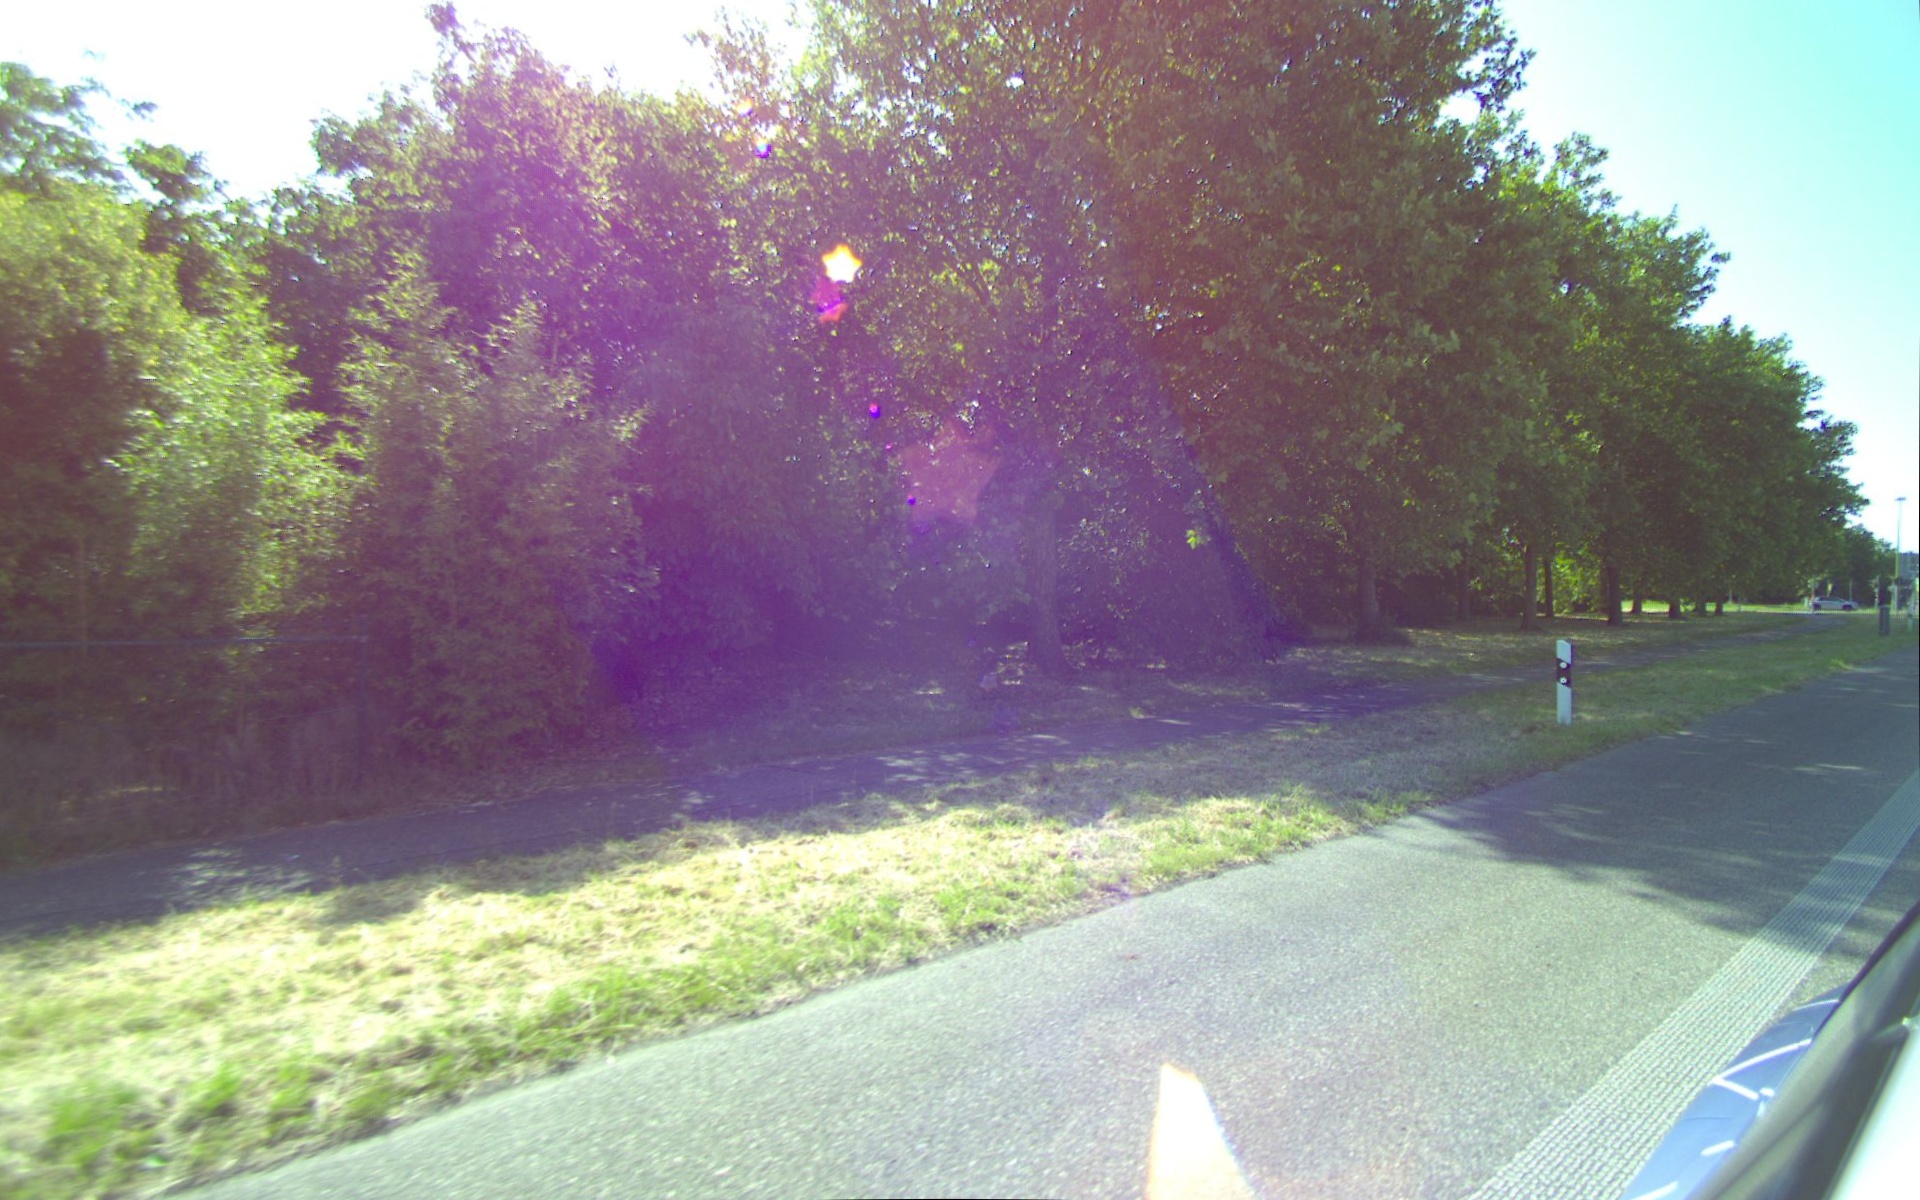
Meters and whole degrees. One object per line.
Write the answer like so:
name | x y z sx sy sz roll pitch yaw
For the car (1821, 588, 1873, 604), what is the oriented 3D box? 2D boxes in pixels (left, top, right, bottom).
car | 93.744 -0.410 106.952 4.052 1.583 1.715 2 2 44
